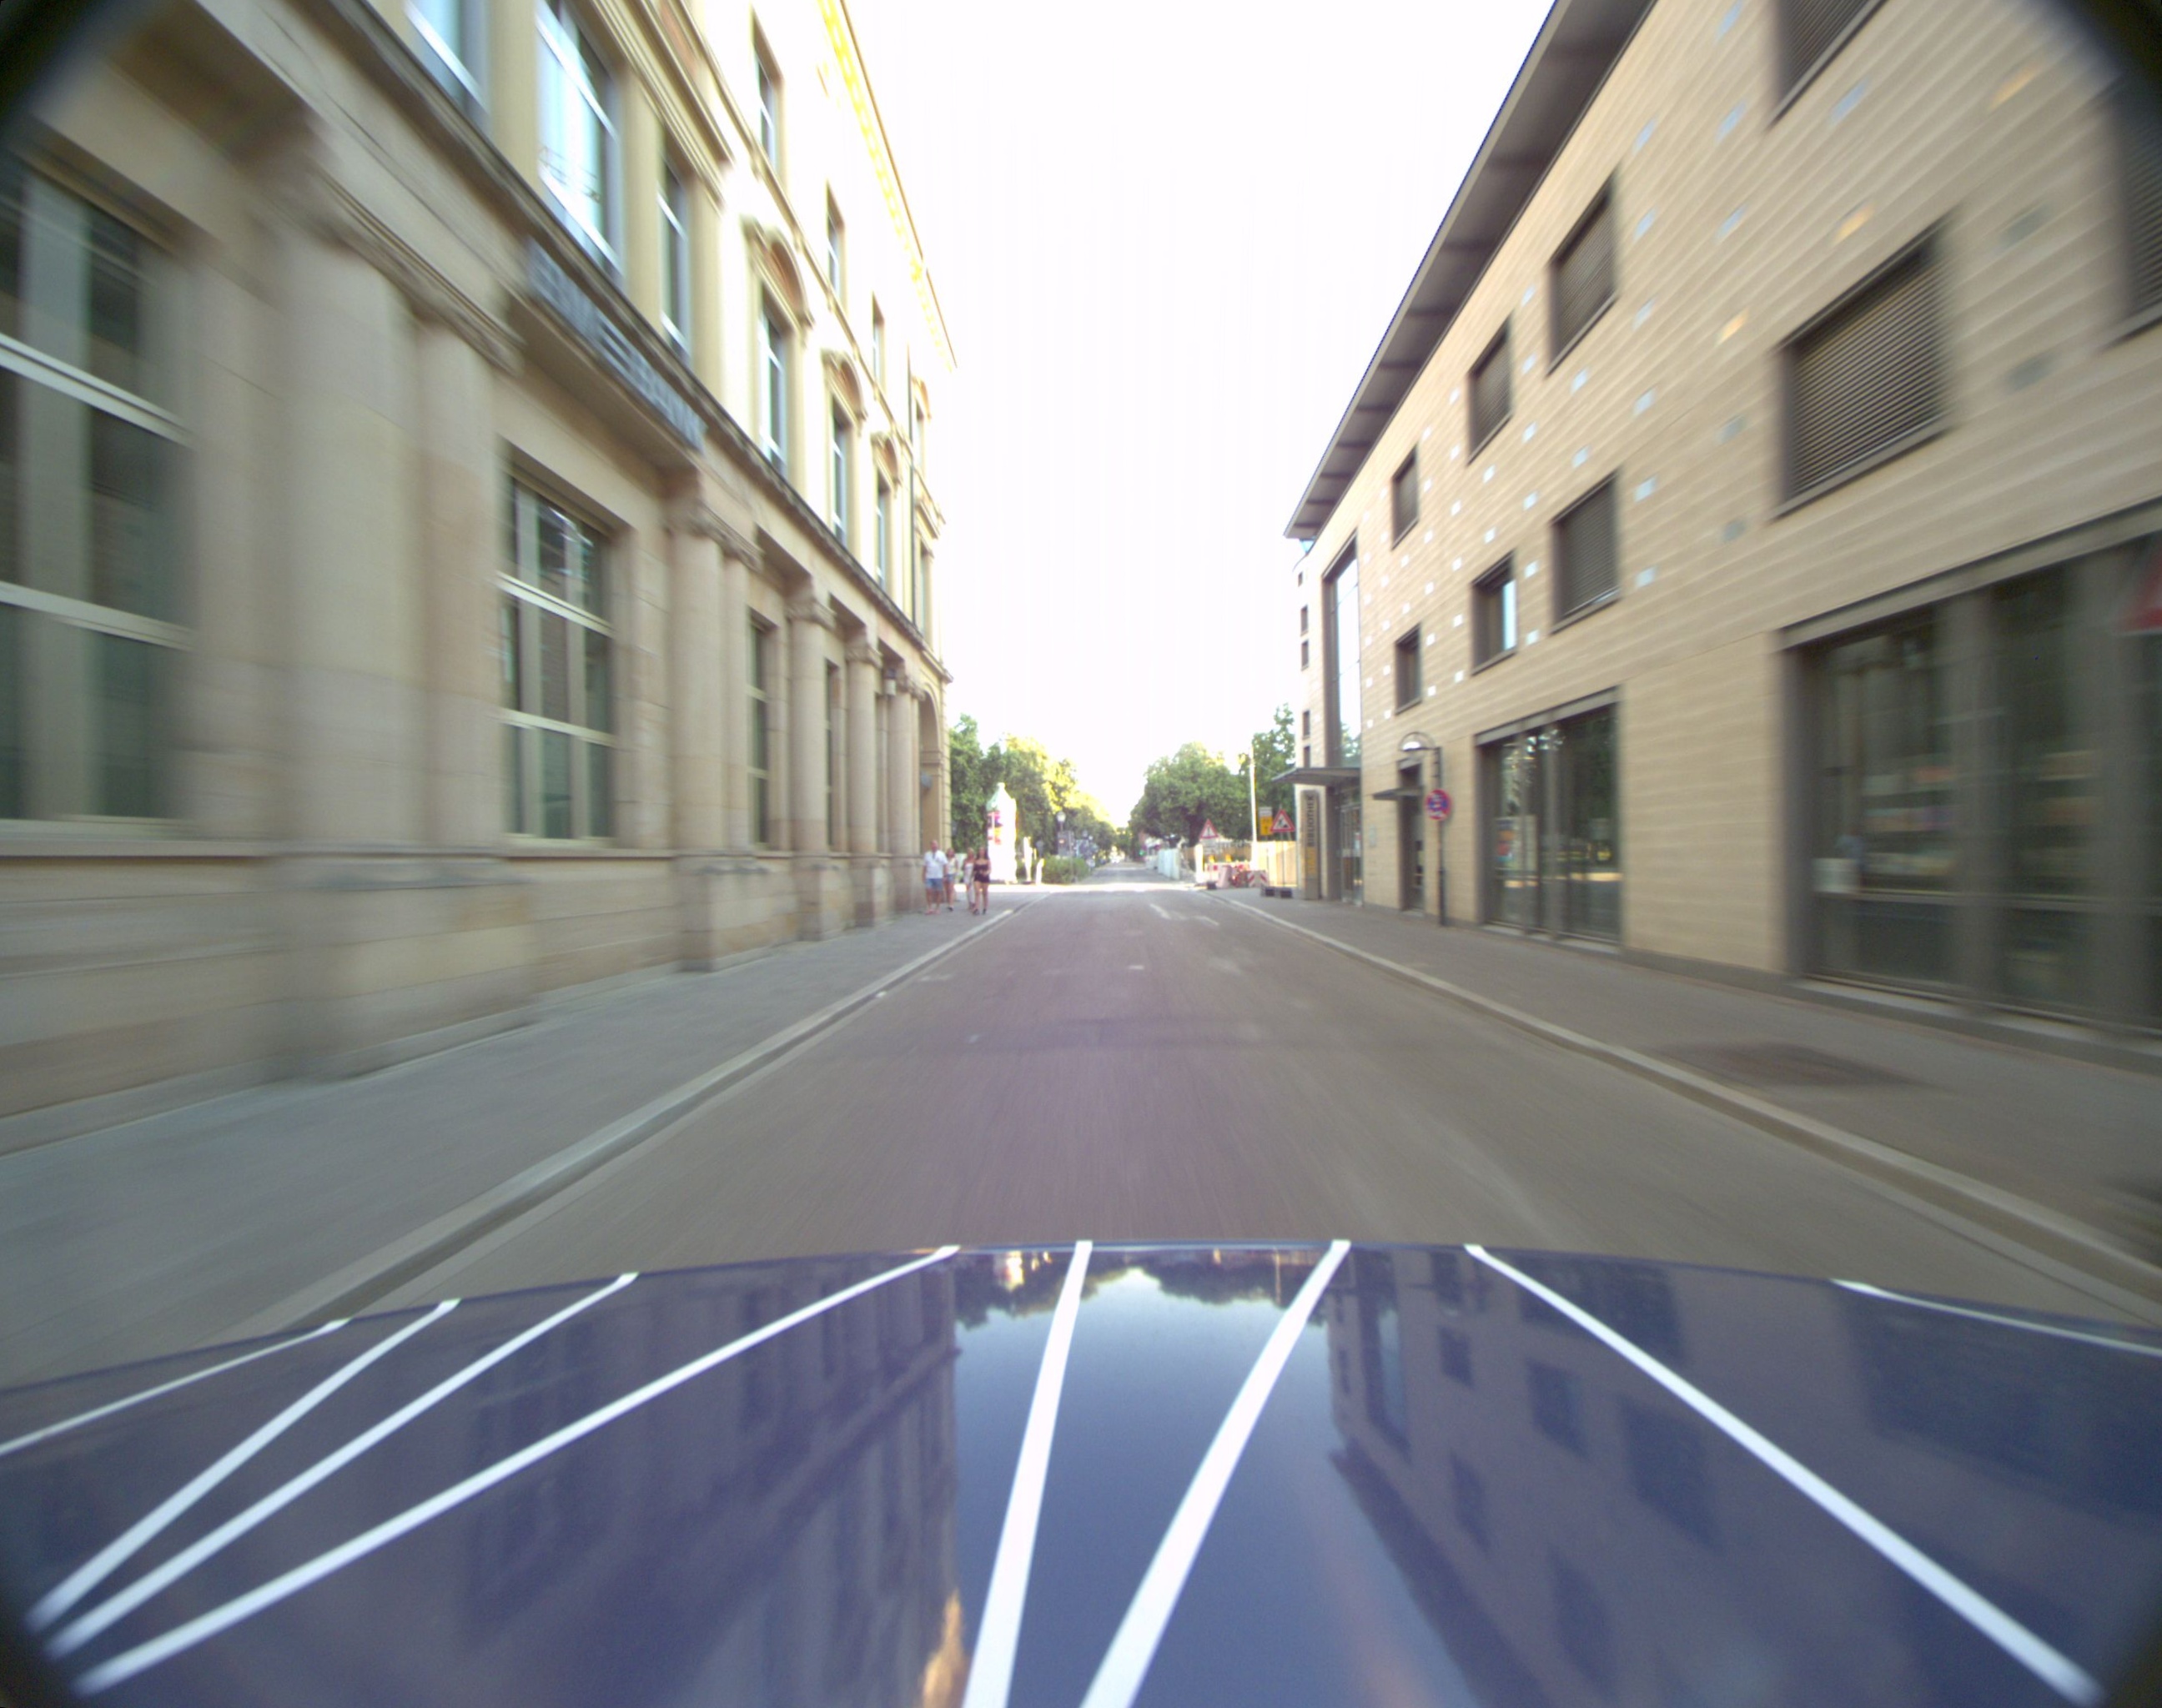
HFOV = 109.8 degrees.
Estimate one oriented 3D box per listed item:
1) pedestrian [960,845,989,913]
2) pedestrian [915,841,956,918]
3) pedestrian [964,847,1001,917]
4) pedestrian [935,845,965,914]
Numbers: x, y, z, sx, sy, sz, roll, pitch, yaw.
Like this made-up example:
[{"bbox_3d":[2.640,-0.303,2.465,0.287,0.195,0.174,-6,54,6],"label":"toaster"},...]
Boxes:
[{"bbox_3d":[-2.843,0.650,20.280,0.638,1.793,0.772,0,1,2],"label":"pedestrian"},{"bbox_3d":[-3.610,0.628,18.881,0.814,1.864,0.875,0,1,2],"label":"pedestrian"},{"bbox_3d":[-2.473,0.692,19.160,0.777,1.736,0.875,0,1,2],"label":"pedestrian"},{"bbox_3d":[-3.496,0.662,20.288,0.638,1.793,0.772,0,1,2],"label":"pedestrian"}]
